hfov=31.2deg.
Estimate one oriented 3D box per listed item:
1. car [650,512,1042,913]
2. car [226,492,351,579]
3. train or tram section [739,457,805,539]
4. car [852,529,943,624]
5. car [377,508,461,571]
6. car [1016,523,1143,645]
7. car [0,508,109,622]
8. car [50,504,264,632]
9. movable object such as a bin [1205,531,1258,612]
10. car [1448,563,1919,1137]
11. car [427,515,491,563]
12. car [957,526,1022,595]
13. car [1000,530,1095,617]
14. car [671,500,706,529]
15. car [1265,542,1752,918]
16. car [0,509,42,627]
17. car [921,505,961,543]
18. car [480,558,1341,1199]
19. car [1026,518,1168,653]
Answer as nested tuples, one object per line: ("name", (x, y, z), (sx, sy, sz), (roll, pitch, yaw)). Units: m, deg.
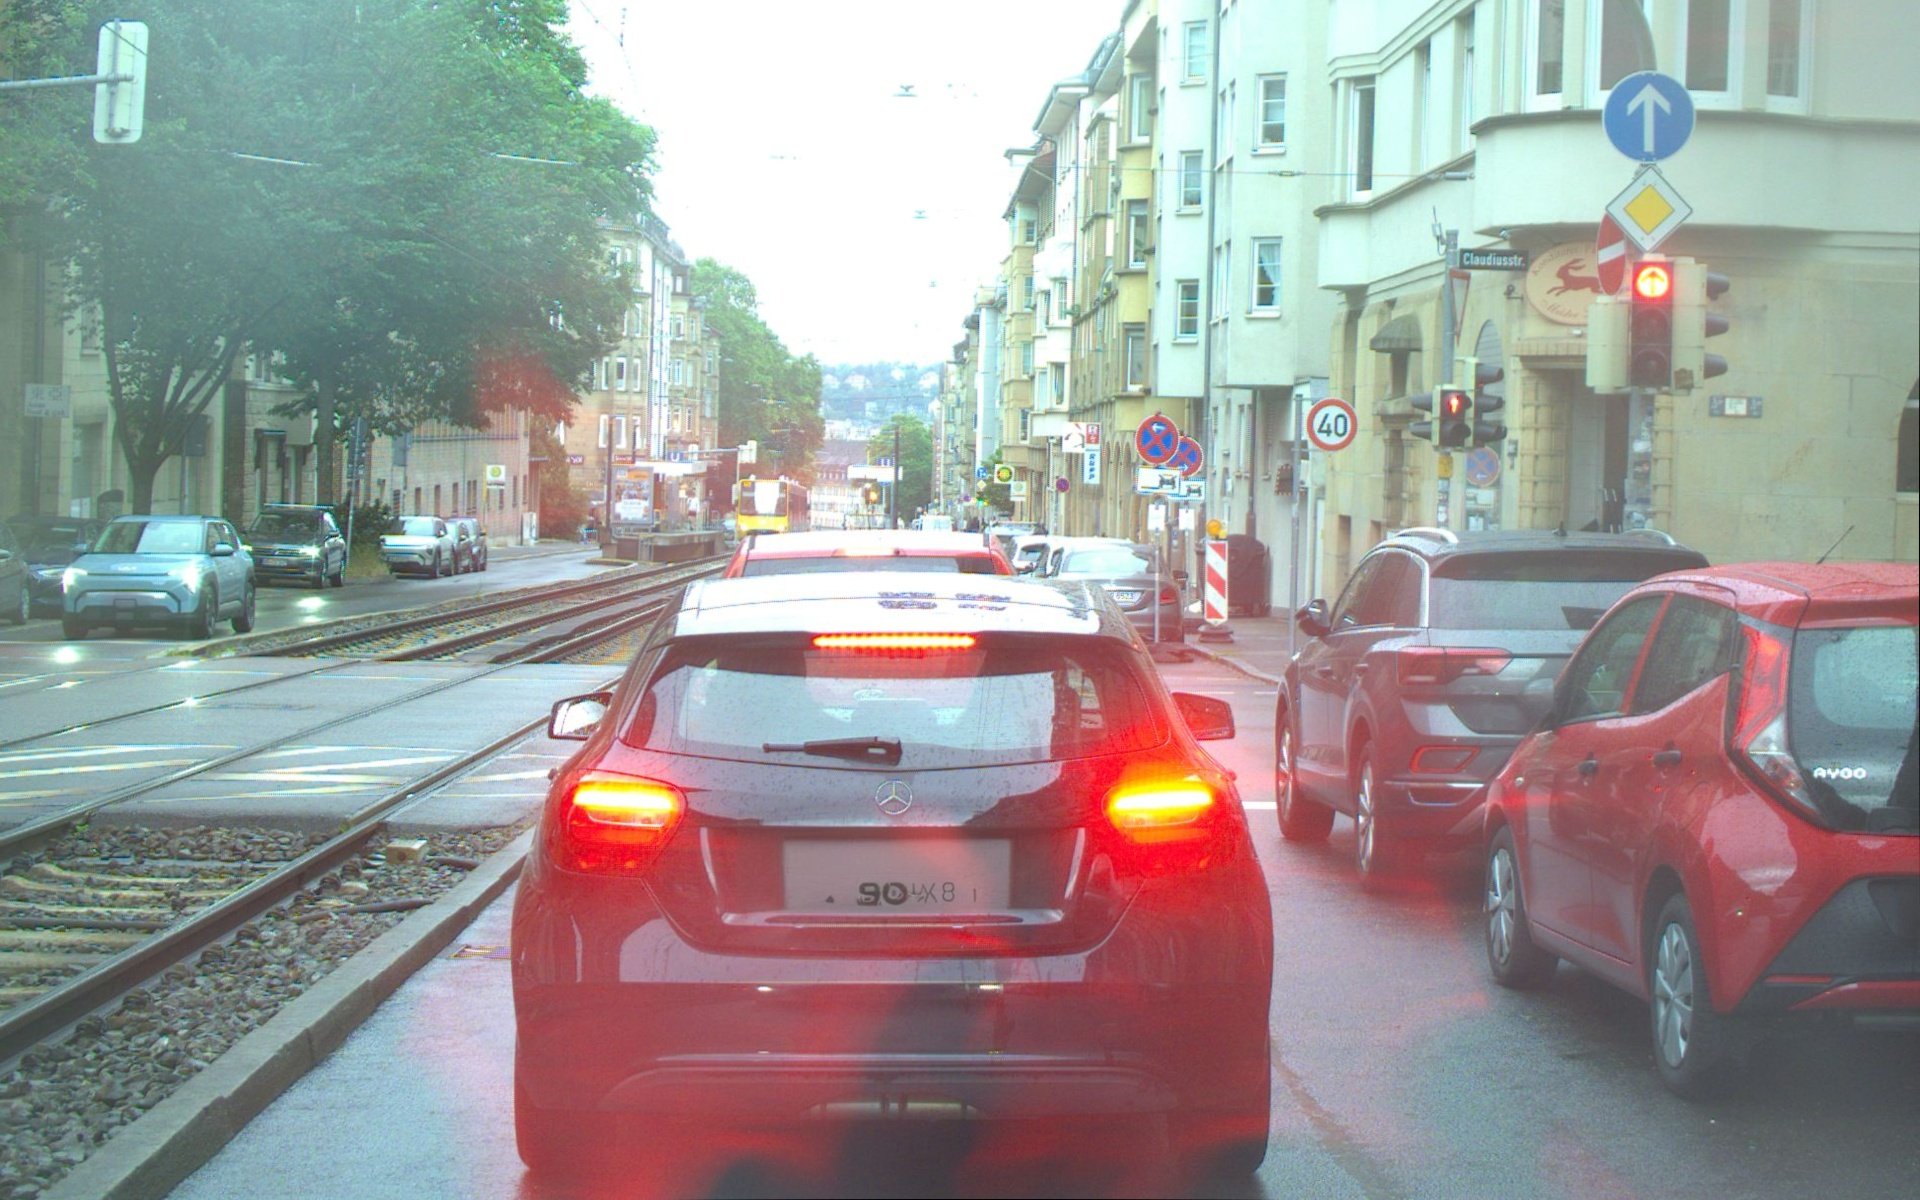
("car", (-0.487, 0.440, 15.844), (1.565, 1.604, 3.814), (1, 0, -1))
("car", (-13.967, -1.331, 71.701), (1.875, 1.731, 3.918), (1, 0, -1))
("train or tram section", (-9.287, -5.023, 171.143), (2.783, 3.847, 10.430), (1, 0, -1))
("car", (-1.146, -0.453, 61.950), (1.544, 1.630, 3.686), (1, 1, -2))
("car", (-14.006, -1.549, 89.164), (1.589, 1.575, 3.918), (1, 0, -1))
("car", (1.603, -0.243, 47.116), (1.544, 1.585, 3.548), (1, 1, -1))
("car", (-13.745, -0.524, 50.722), (1.716, 1.605, 3.919), (1, 0, -5))
("car", (-10.467, -0.417, 45.078), (1.898, 1.582, 3.973), (1, 0, -1))
("movable object such as a bin", (4.702, -0.499, 59.572), (0.878, 1.384, 0.982), (1, 0, 3))
("car", (2.642, 0.637, 10.525), (1.642, 1.443, 3.299), (1, 1, -3))
("car", (-14.350, -1.736, 98.573), (1.448, 1.326, 3.272), (1, 0, -2))
("car", (0.624, -0.856, 73.594), (1.294, 1.437, 2.929), (1, 1, -1))
("car", (1.544, -0.497, 61.525), (1.544, 1.481, 3.548), (1, 1, -1))
("car", (-12.228, -3.843, 154.926), (1.377, 1.245, 3.298), (1, 0, -2))
("car", (2.379, 0.493, 15.764), (1.544, 1.481, 3.830), (1, 1, -1))
("car", (-13.492, -0.435, 45.692), (1.752, 1.547, 4.036), (1, 0, -4))
("car", (-0.971, -3.850, 174.234), (1.993, 1.870, 4.000), (1, 0, -1))
("car", (-0.133, 0.642, 9.457), (1.829, 1.453, 4.104), (1, 1, -1))
("car", (1.659, -0.206, 42.640), (1.544, 1.585, 3.548), (1, 1, -1))
